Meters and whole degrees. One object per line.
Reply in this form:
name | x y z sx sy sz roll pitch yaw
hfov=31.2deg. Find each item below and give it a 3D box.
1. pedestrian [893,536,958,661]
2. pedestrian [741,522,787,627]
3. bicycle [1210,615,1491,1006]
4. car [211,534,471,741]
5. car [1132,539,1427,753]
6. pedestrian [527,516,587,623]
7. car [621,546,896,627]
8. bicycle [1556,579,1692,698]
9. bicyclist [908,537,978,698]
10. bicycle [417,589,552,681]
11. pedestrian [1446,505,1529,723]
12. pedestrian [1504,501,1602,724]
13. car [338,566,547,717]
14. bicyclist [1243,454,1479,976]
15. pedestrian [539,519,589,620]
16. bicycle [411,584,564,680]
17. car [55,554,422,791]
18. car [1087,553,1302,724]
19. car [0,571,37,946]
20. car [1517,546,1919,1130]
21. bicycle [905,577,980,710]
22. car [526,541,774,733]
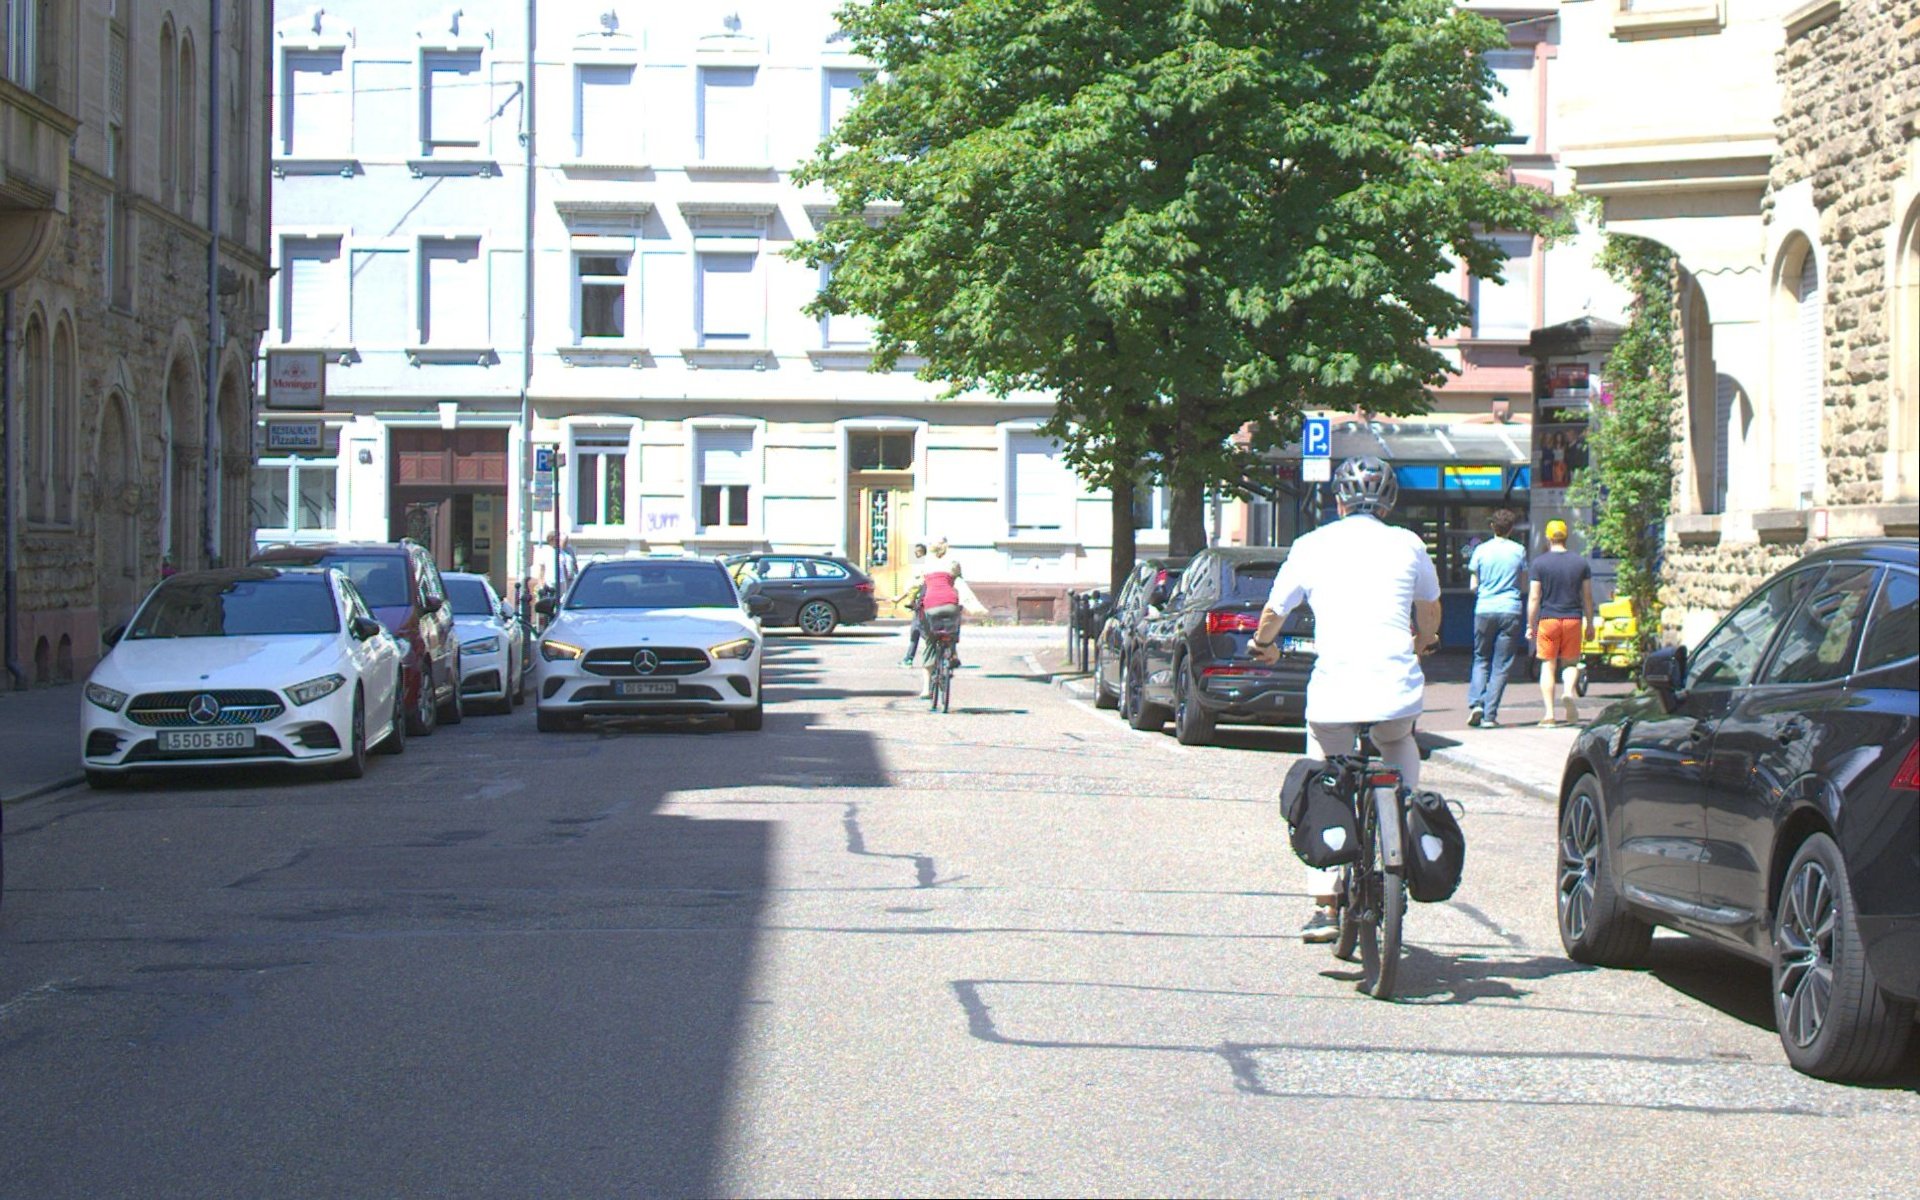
pedestrian | -0.470 -0.028 46.222 0.857 1.666 0.774 0 0 -2
pedestrian | -3.453 -0.452 60.542 0.724 1.847 0.685 0 0 -11
bicycle | 1.370 0.696 12.492 0.652 1.224 2.441 2 1 -1
car | -5.141 0.272 28.992 1.672 1.577 4.053 -2 1 -4
car | 2.597 0.329 28.928 1.735 1.591 4.348 3 1 -4
pedestrian | -7.156 -0.545 61.096 0.850 1.882 0.935 0 0 9
car | -3.603 -0.250 61.880 4.859 1.432 2.000 0 1 -2
bicycle | 6.842 0.371 35.309 0.795 1.165 2.575 0 1 24
bicyclist | -0.166 0.163 33.100 0.670 1.528 0.609 0 0 -1
bicycle | -5.636 0.410 40.752 1.524 1.004 0.367 3 0 -6
pedestrian | 4.582 0.115 29.848 0.519 1.862 0.652 1 0 26
pedestrian | 5.091 0.101 29.490 0.600 1.873 0.882 1 0 24
car | -5.068 0.361 34.137 1.701 1.348 4.516 -2 1 -4
bicyclist | 1.392 0.389 12.022 0.670 1.754 0.609 2 0 -1
pedestrian | -7.150 -0.542 62.036 0.901 1.808 0.960 0 0 -7
bicycle | -5.525 0.370 40.241 1.704 1.041 0.414 3 0 -6
car | -4.904 0.438 23.919 1.776 1.455 4.279 -2 1 -2
car | 2.279 0.338 34.391 1.663 1.535 4.178 3 1 -2
car | -4.556 0.663 12.290 1.567 1.486 3.894 -2 1 -2
car | 3.308 0.648 11.544 1.833 1.561 4.606 3 1 -3
bicycle | -0.181 0.396 33.161 0.652 1.205 2.441 2 1 -1
car | -2.548 0.264 29.141 1.841 1.456 4.363 -2 1 -2
